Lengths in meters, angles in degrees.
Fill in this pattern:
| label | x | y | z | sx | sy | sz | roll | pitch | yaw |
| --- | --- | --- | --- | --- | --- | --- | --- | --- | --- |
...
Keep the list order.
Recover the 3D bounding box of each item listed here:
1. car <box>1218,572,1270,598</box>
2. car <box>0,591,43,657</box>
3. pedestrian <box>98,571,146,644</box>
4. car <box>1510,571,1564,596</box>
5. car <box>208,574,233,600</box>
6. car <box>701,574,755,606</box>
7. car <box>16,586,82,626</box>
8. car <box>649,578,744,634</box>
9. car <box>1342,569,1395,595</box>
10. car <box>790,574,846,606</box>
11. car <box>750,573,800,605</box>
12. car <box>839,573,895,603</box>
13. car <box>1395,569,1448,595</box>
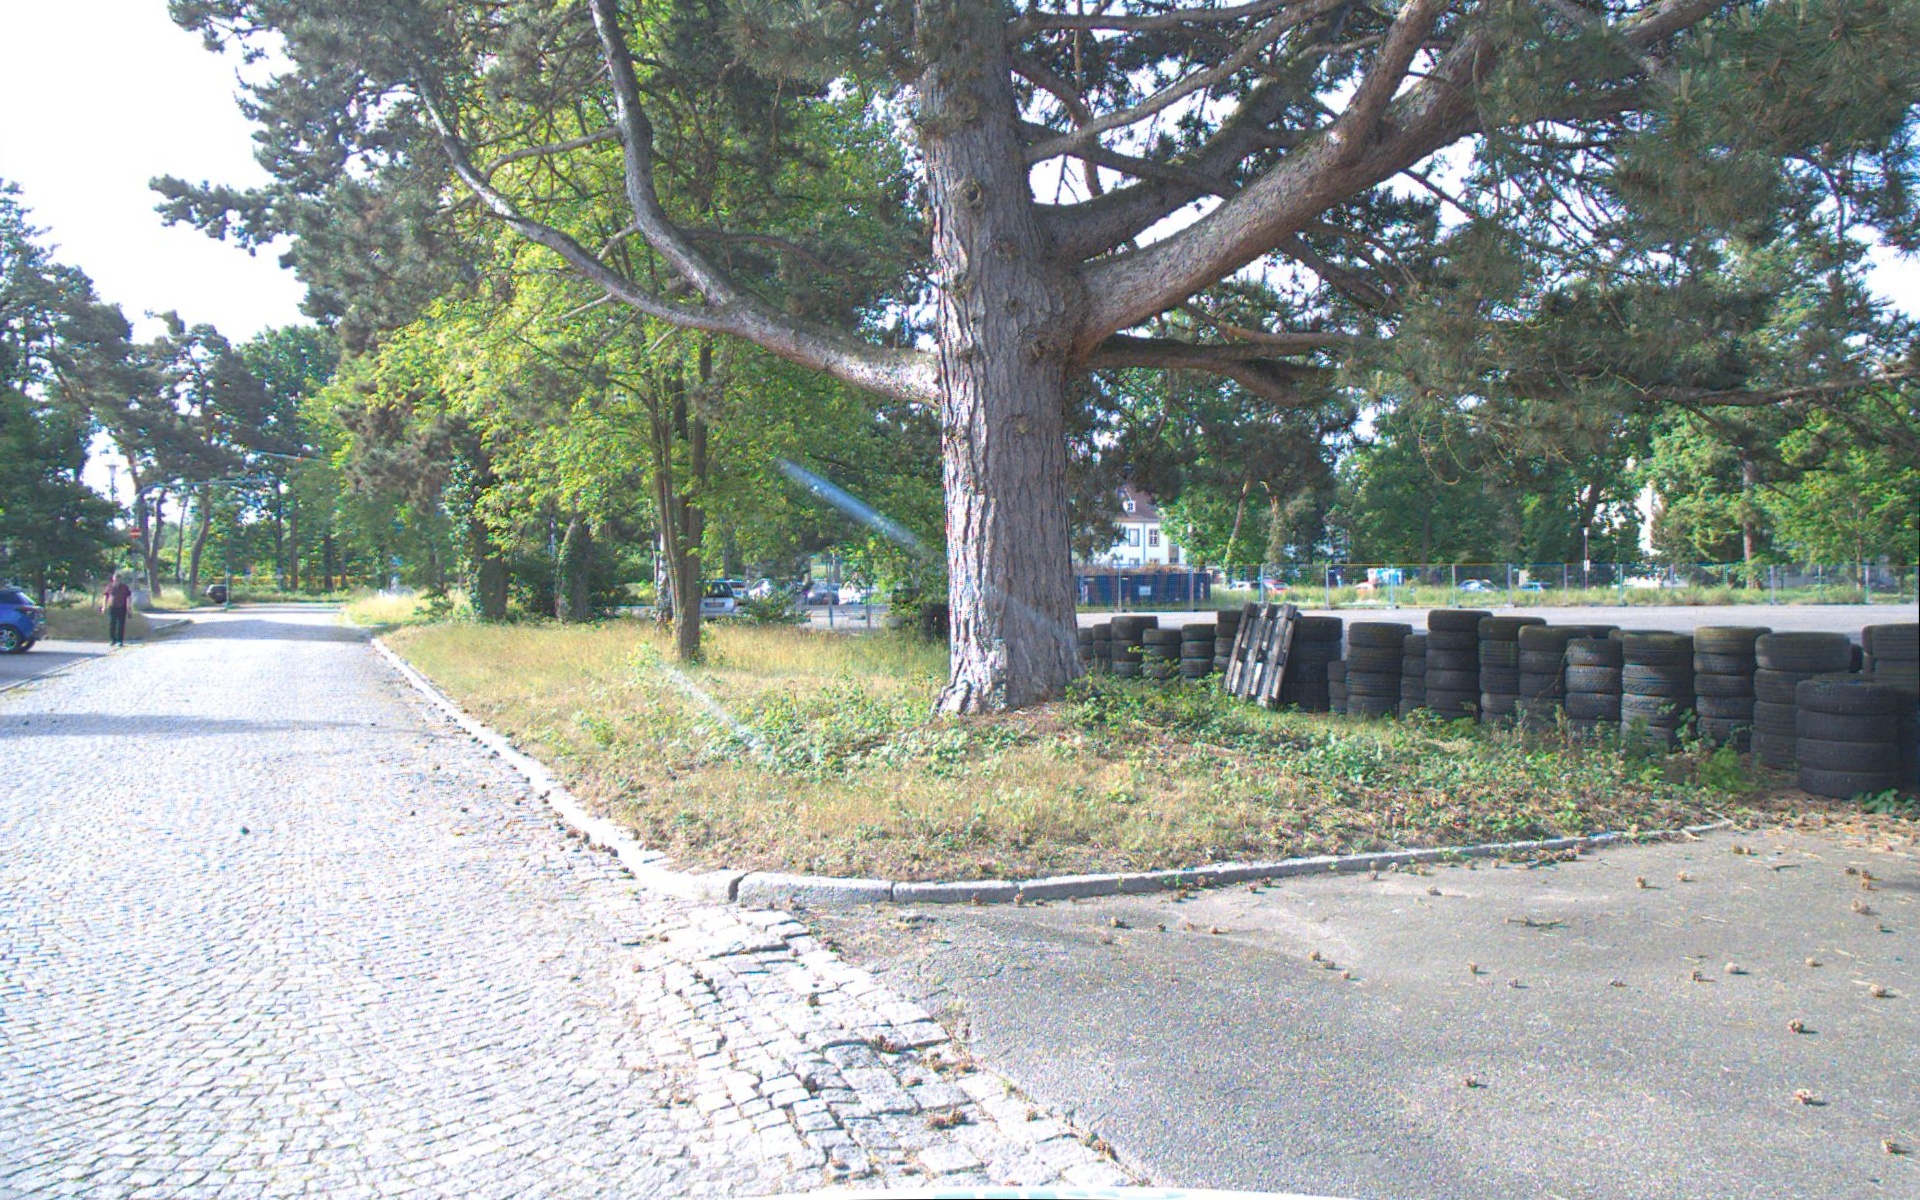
| label | x | y | z | sx | sy | sz | roll | pitch | yaw |
| --- | --- | --- | --- | --- | --- | --- | --- | --- | --- |
| car | 19.392 | -1.029 | 113.008 | 1.962 | 1.780 | 3.982 | -1 | 1 | -17 |
| car | -22.410 | 0.548 | 37.197 | 3.049 | 1.475 | 1.478 | -1 | 1 | -28 |
| pedestrian | -21.675 | 0.185 | 42.774 | 0.948 | 1.876 | 0.943 | -1 | 1 | -36 |
| car | 42.664 | -1.228 | 122.396 | 1.958 | 1.780 | 3.988 | 0 | 1 | -12 |
| car | -60.636 | -1.059 | 135.605 | 1.674 | 2.049 | 3.974 | 0 | 1 | -21 |
| car | -12.276 | -0.526 | 87.199 | 1.965 | 1.646 | 3.974 | -1 | 1 | -22 |
| car | -39.660 | 0.234 | 72.081 | 1.965 | 1.646 | 3.974 | -1 | 1 | -22 |
| car | -7.821 | 0.137 | 48.758 | 1.861 | 1.568 | 3.971 | 0 | 1 | -23 |
| car | 28.816 | -1.260 | 116.687 | 1.961 | 1.780 | 3.983 | -1 | 1 | -16 |
| car | -7.711 | -0.563 | 89.682 | 1.965 | 1.646 | 3.974 | -1 | 1 | -22 |
| car | -9.913 | -0.618 | 88.458 | 1.794 | 1.646 | 3.977 | -1 | 1 | -20 |
| car | -5.150 | -0.669 | 91.074 | 1.965 | 1.646 | 3.974 | -1 | 1 | -22 |
| car | 33.053 | -1.298 | 118.605 | 1.960 | 1.780 | 3.985 | -1 | 1 | -14 |
